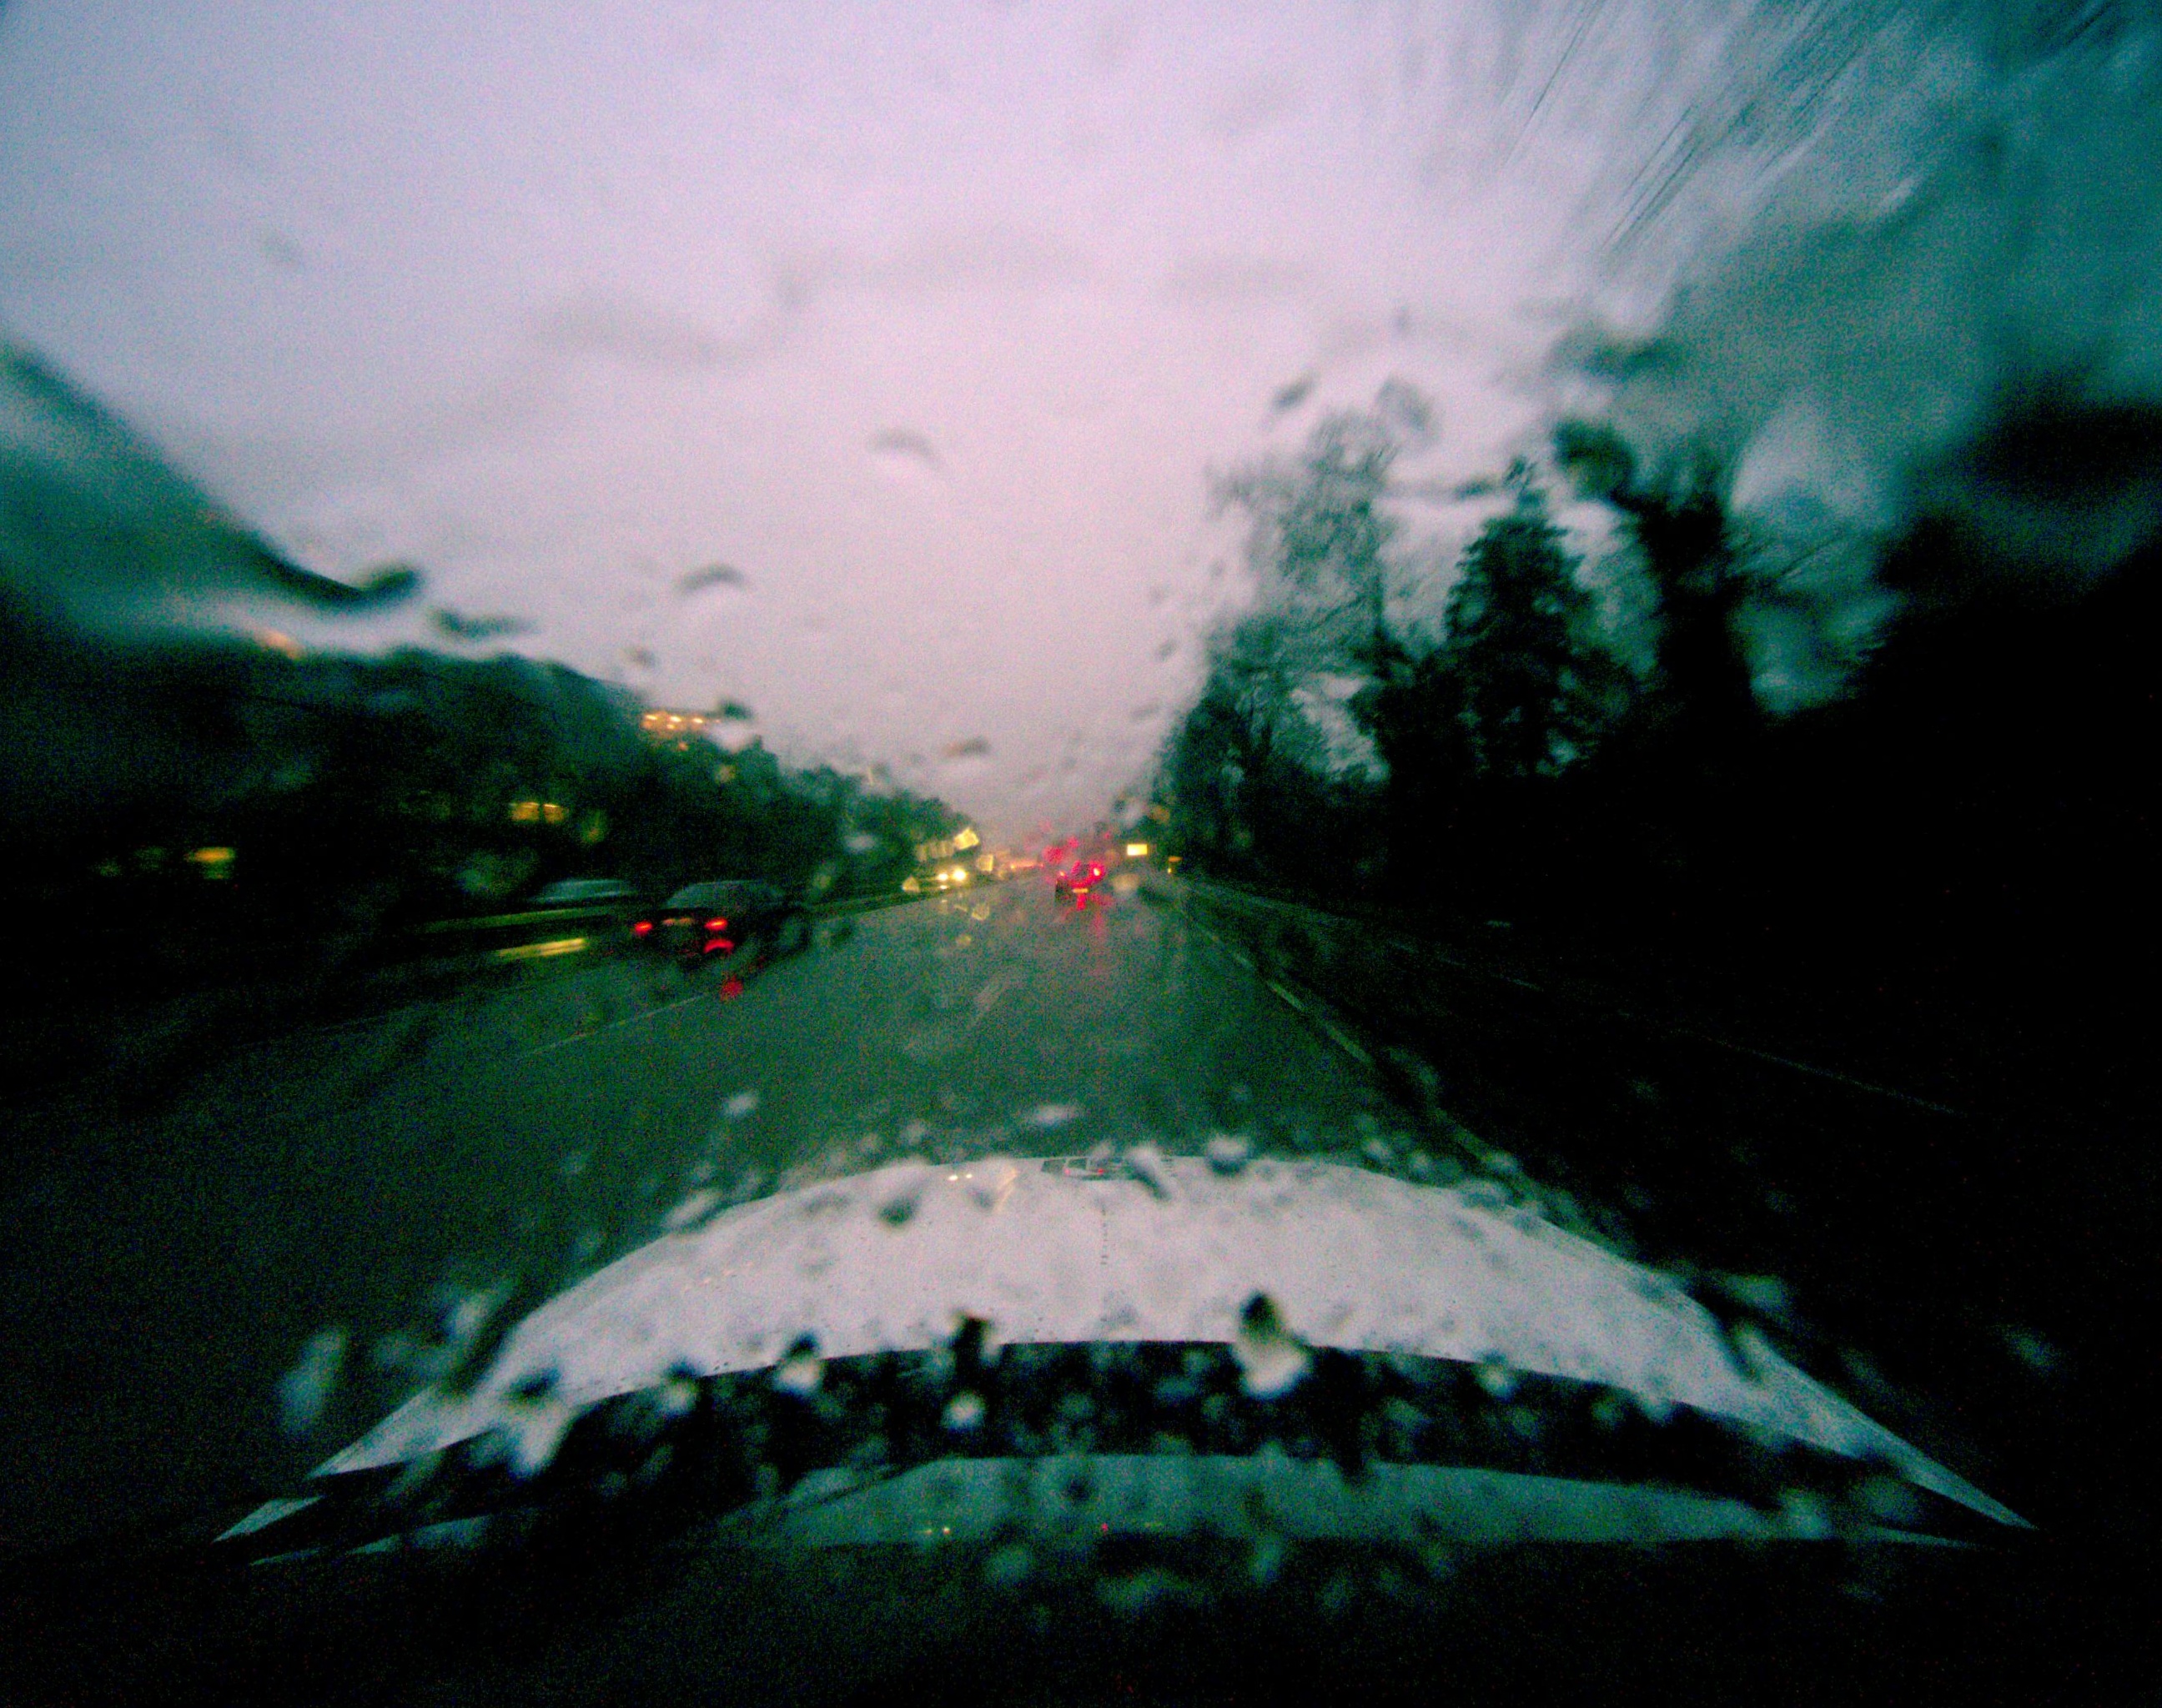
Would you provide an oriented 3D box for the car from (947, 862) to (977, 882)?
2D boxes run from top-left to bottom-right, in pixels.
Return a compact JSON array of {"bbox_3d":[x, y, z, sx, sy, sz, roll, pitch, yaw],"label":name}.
[{"bbox_3d":[-10.436,1.587,71.783,1.836,1.657,4.668,-1,-1,0],"label":"car"}]

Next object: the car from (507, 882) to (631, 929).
[{"bbox_3d":[-18.747,1.830,30.087,1.539,1.513,4.543,-1,-1,2],"label":"car"}]

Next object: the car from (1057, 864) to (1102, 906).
[{"bbox_3d":[-0.057,1.074,29.575,1.523,1.416,3.477,0,-1,-1],"label":"car"}]

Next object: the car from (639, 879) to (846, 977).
[{"bbox_3d":[-6.382,1.319,16.032,1.768,1.534,4.707,-4,-2,4],"label":"car"}]
